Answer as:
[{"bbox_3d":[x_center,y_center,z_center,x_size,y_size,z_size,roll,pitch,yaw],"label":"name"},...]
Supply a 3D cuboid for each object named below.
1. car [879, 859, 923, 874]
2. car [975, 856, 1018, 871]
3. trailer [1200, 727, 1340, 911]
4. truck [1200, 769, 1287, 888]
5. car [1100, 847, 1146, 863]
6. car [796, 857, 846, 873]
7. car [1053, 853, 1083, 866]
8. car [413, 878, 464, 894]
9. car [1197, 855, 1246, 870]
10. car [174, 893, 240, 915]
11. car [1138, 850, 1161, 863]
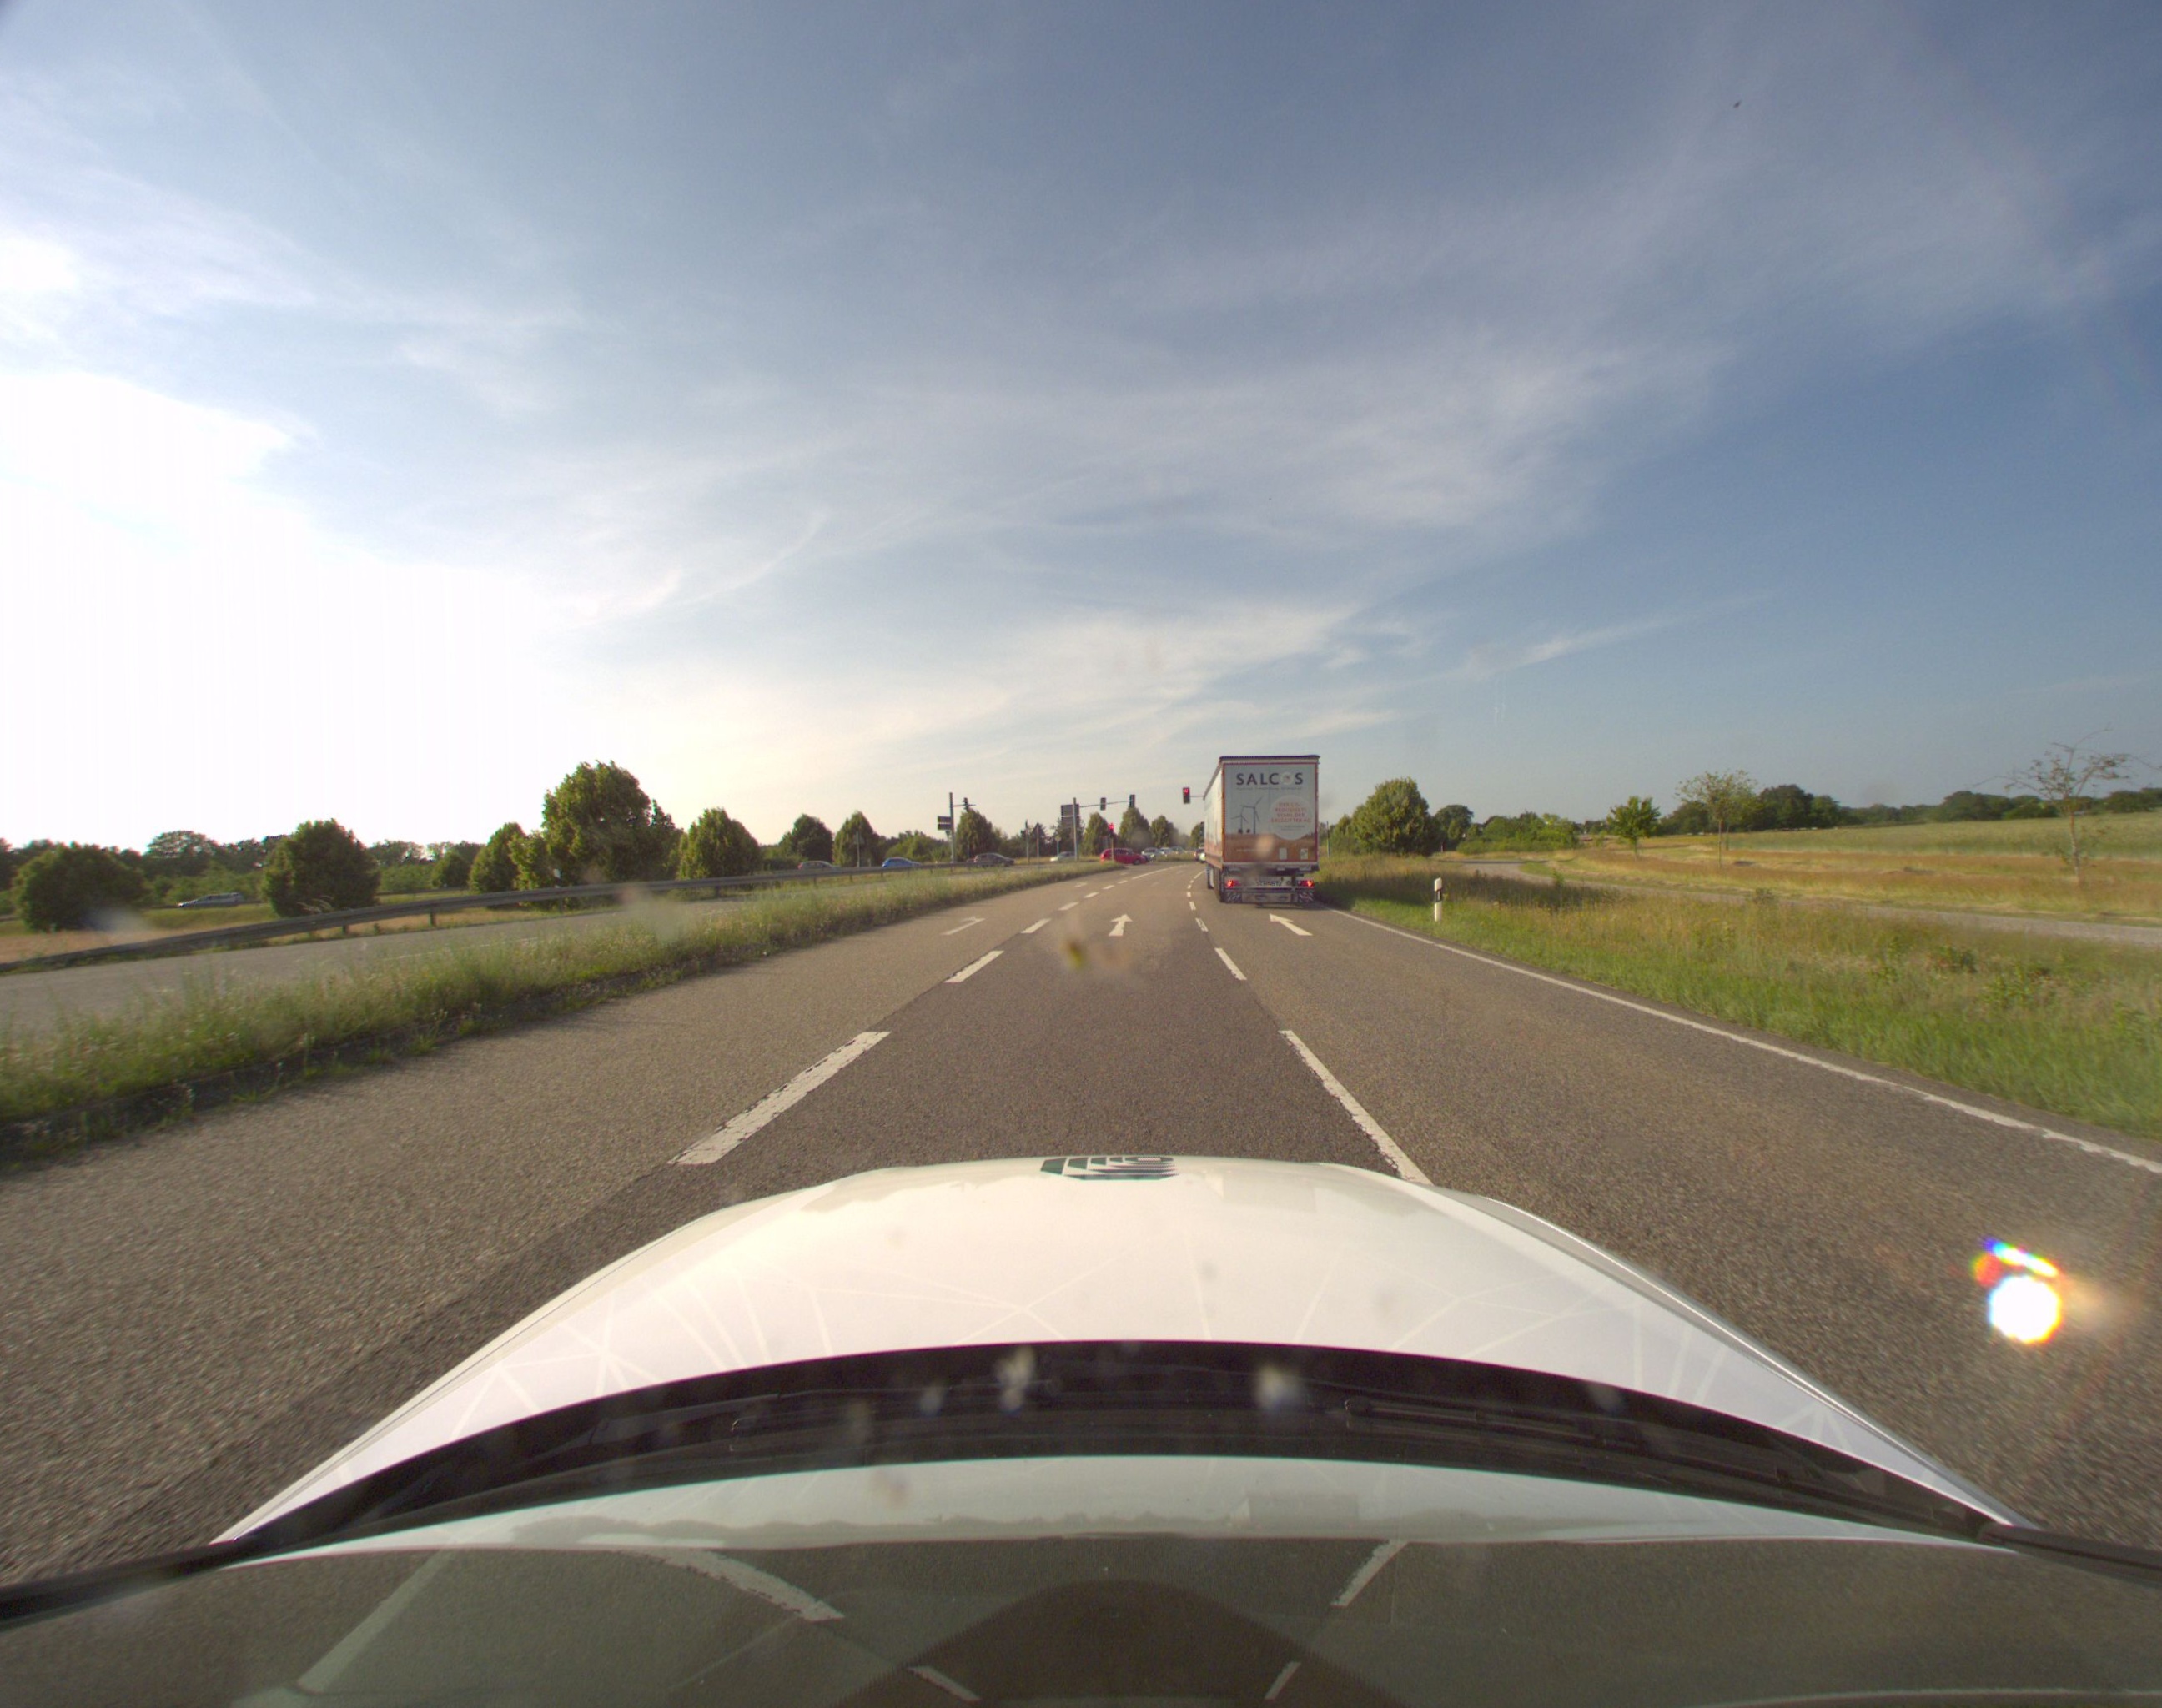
[{"bbox_3d":[-18.273,1.264,82.576,3.942,1.492,1.786,-1,0,15],"label":"car"},{"bbox_3d":[-8.301,0.932,80.010,3.760,1.416,1.926,-1,-1,10],"label":"car"},{"bbox_3d":[5.799,-0.923,27.452,3.263,4.681,13.175,-1,0,7],"label":"trailer"},{"bbox_3d":[6.806,-1.000,34.918,3.282,4.657,5.744,-1,0,7],"label":"truck"},{"bbox_3d":[4.014,0.117,78.942,4.256,1.565,1.898,0,-1,-4],"label":"car"},{"bbox_3d":[-26.842,1.166,84.119,4.490,1.565,1.820,-1,0,8],"label":"car"},{"bbox_3d":[-1.629,0.681,101.114,3.198,1.492,1.765,-1,0,-24],"label":"car"},{"bbox_3d":[-71.630,3.569,90.862,3.989,1.667,1.992,0,-1,-12],"label":"car"},{"bbox_3d":[14.088,0.838,81.624,4.428,1.417,1.911,0,-1,-14],"label":"car"},{"bbox_3d":[-87.022,4.990,81.132,4.001,2.014,1.986,0,-1,-21],"label":"car"},{"bbox_3d":[8.323,0.297,98.450,1.771,1.488,4.673,-2,0,18],"label":"car"}]
